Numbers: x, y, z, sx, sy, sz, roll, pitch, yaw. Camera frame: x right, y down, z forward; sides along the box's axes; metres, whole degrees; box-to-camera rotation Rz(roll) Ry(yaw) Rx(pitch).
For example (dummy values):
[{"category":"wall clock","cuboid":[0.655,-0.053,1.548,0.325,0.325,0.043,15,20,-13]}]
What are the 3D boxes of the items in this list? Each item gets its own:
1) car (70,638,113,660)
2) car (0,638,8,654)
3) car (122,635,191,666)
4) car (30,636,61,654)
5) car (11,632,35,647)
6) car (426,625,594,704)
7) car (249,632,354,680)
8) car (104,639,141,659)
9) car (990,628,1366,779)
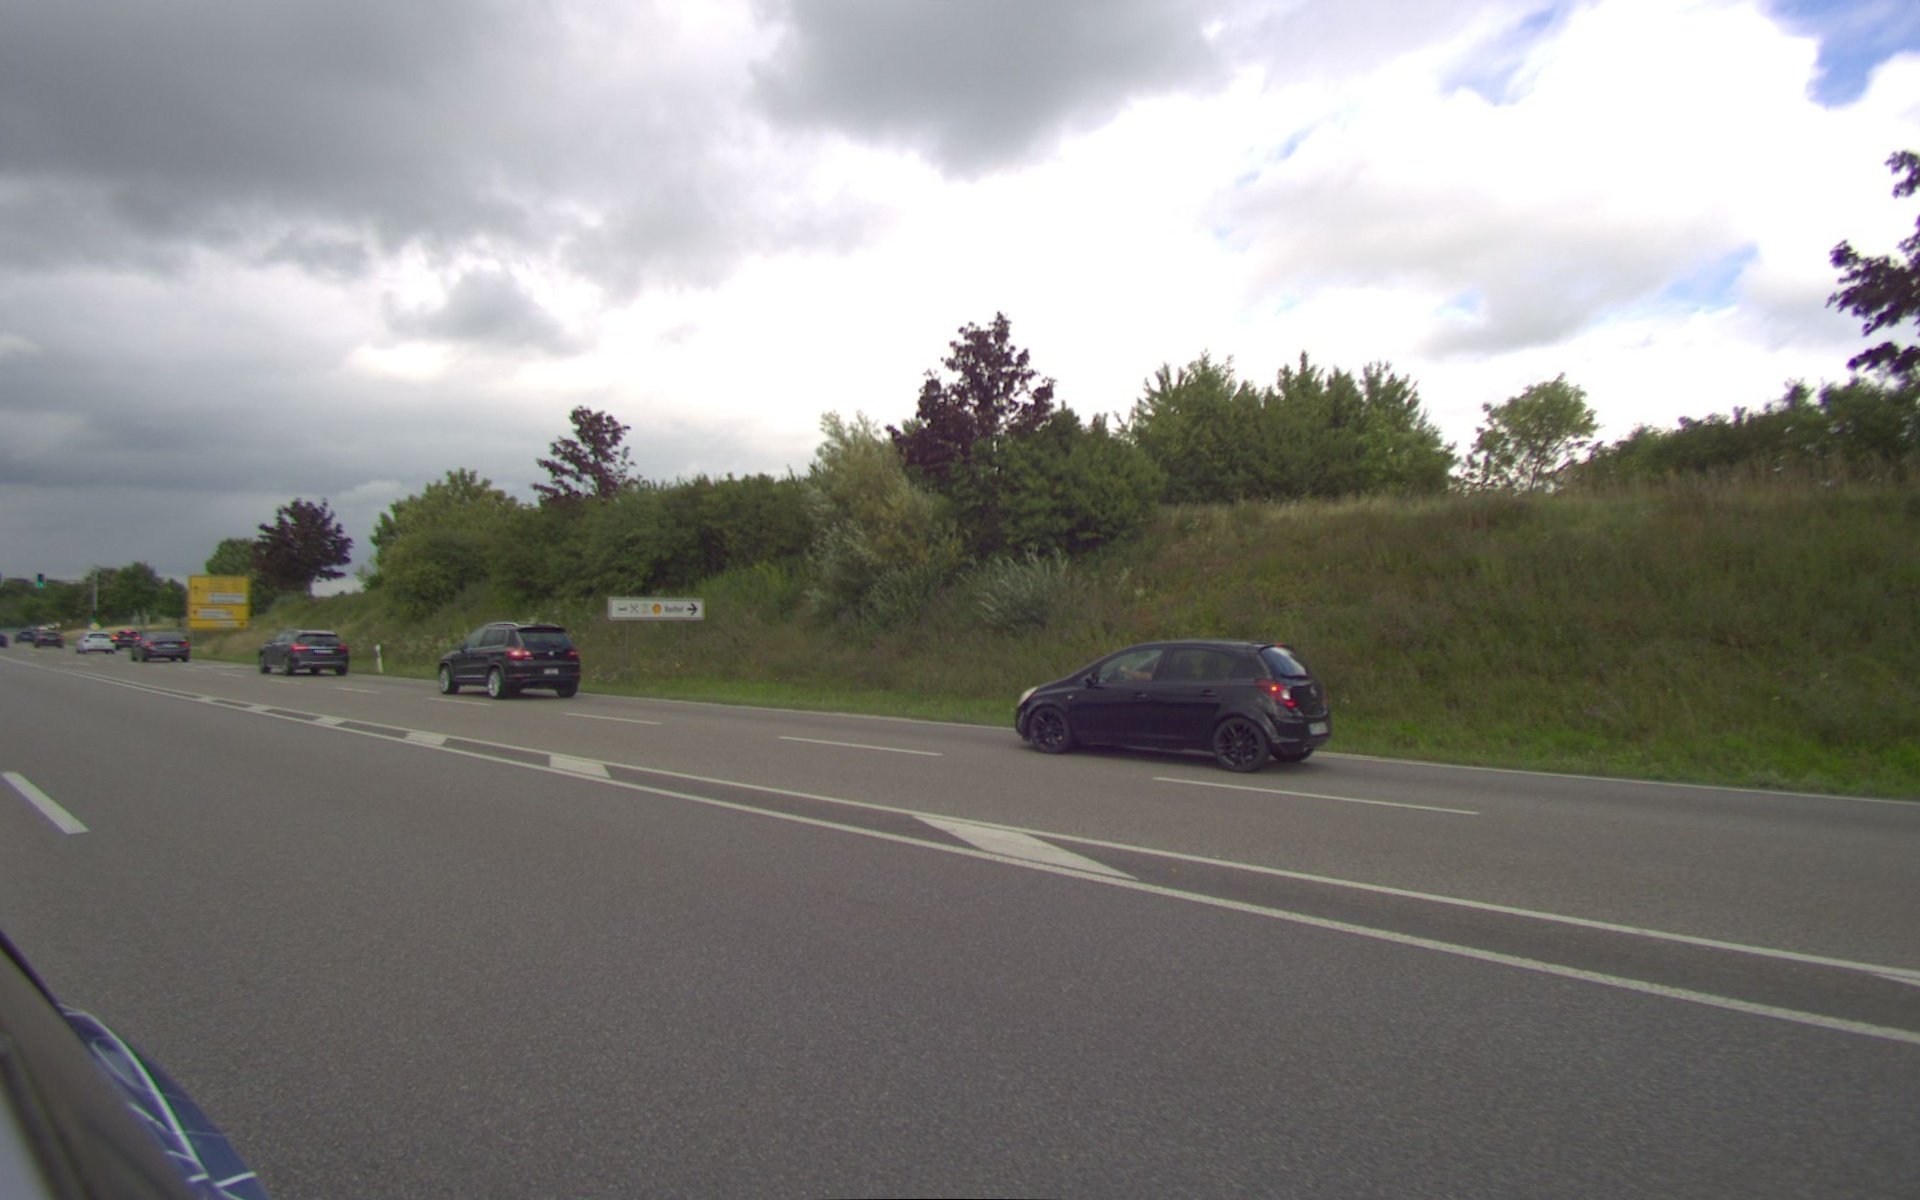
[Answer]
[{"category":"car","cuboid":[-57.542,3.205,67.044,4.054,1.425,1.591,-2,-3,42]},{"category":"car","cuboid":[-82.918,3.917,86.626,4.186,1.418,1.835,-2,-4,44]},{"category":"car","cuboid":[-39.272,2.459,49.442,4.703,1.416,1.775,-2,-5,42]},{"category":"car","cuboid":[-79.955,3.942,88.451,4.660,1.492,1.704,-2,-4,44]},{"category":"car","cuboid":[-112.077,4.700,121.041,4.128,1.729,1.831,-2,-2,42]},{"category":"car","cuboid":[-10.430,1.447,23.300,4.514,1.647,1.775,-2,-4,42]},{"category":"car","cuboid":[-22.511,1.889,34.539,4.703,1.523,1.775,-2,-4,42]},{"category":"car","cuboid":[-69.024,4.033,83.417,4.399,1.608,1.835,-2,-4,44]},{"category":"car","cuboid":[2.533,1.146,12.371,4.189,1.542,1.715,-2,-3,39]}]
